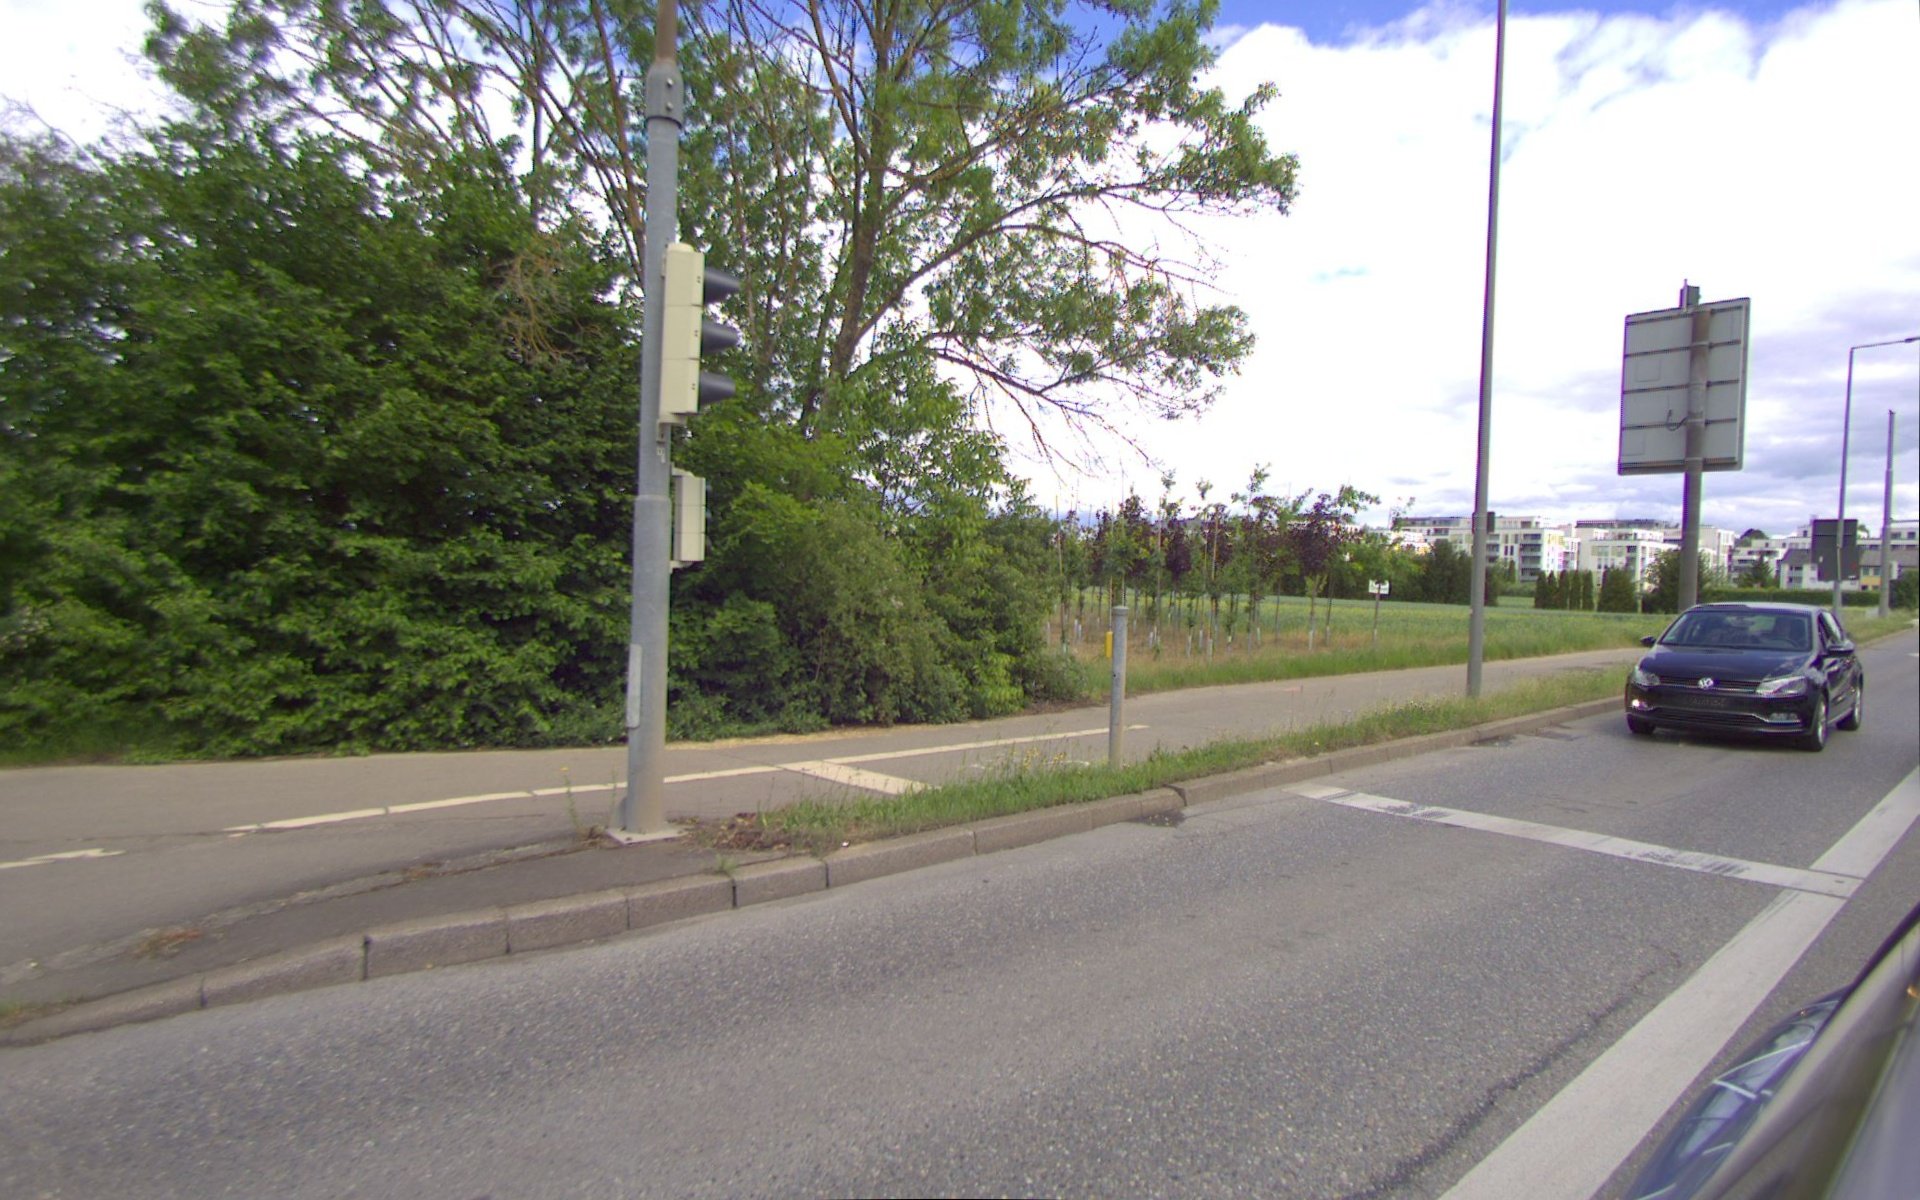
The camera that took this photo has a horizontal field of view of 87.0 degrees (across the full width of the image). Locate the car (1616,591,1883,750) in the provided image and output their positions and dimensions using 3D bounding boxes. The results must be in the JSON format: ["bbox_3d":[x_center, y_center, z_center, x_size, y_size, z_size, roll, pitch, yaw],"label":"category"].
[{"bbox_3d":[8.879,0.642,11.286,3.675,1.436,1.681,-1,2,-41],"label":"car"}]

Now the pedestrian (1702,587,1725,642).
[{"bbox_3d":[23.876,0.442,32.056,0.615,1.724,0.492,0,0,-43],"label":"pedestrian"}]
